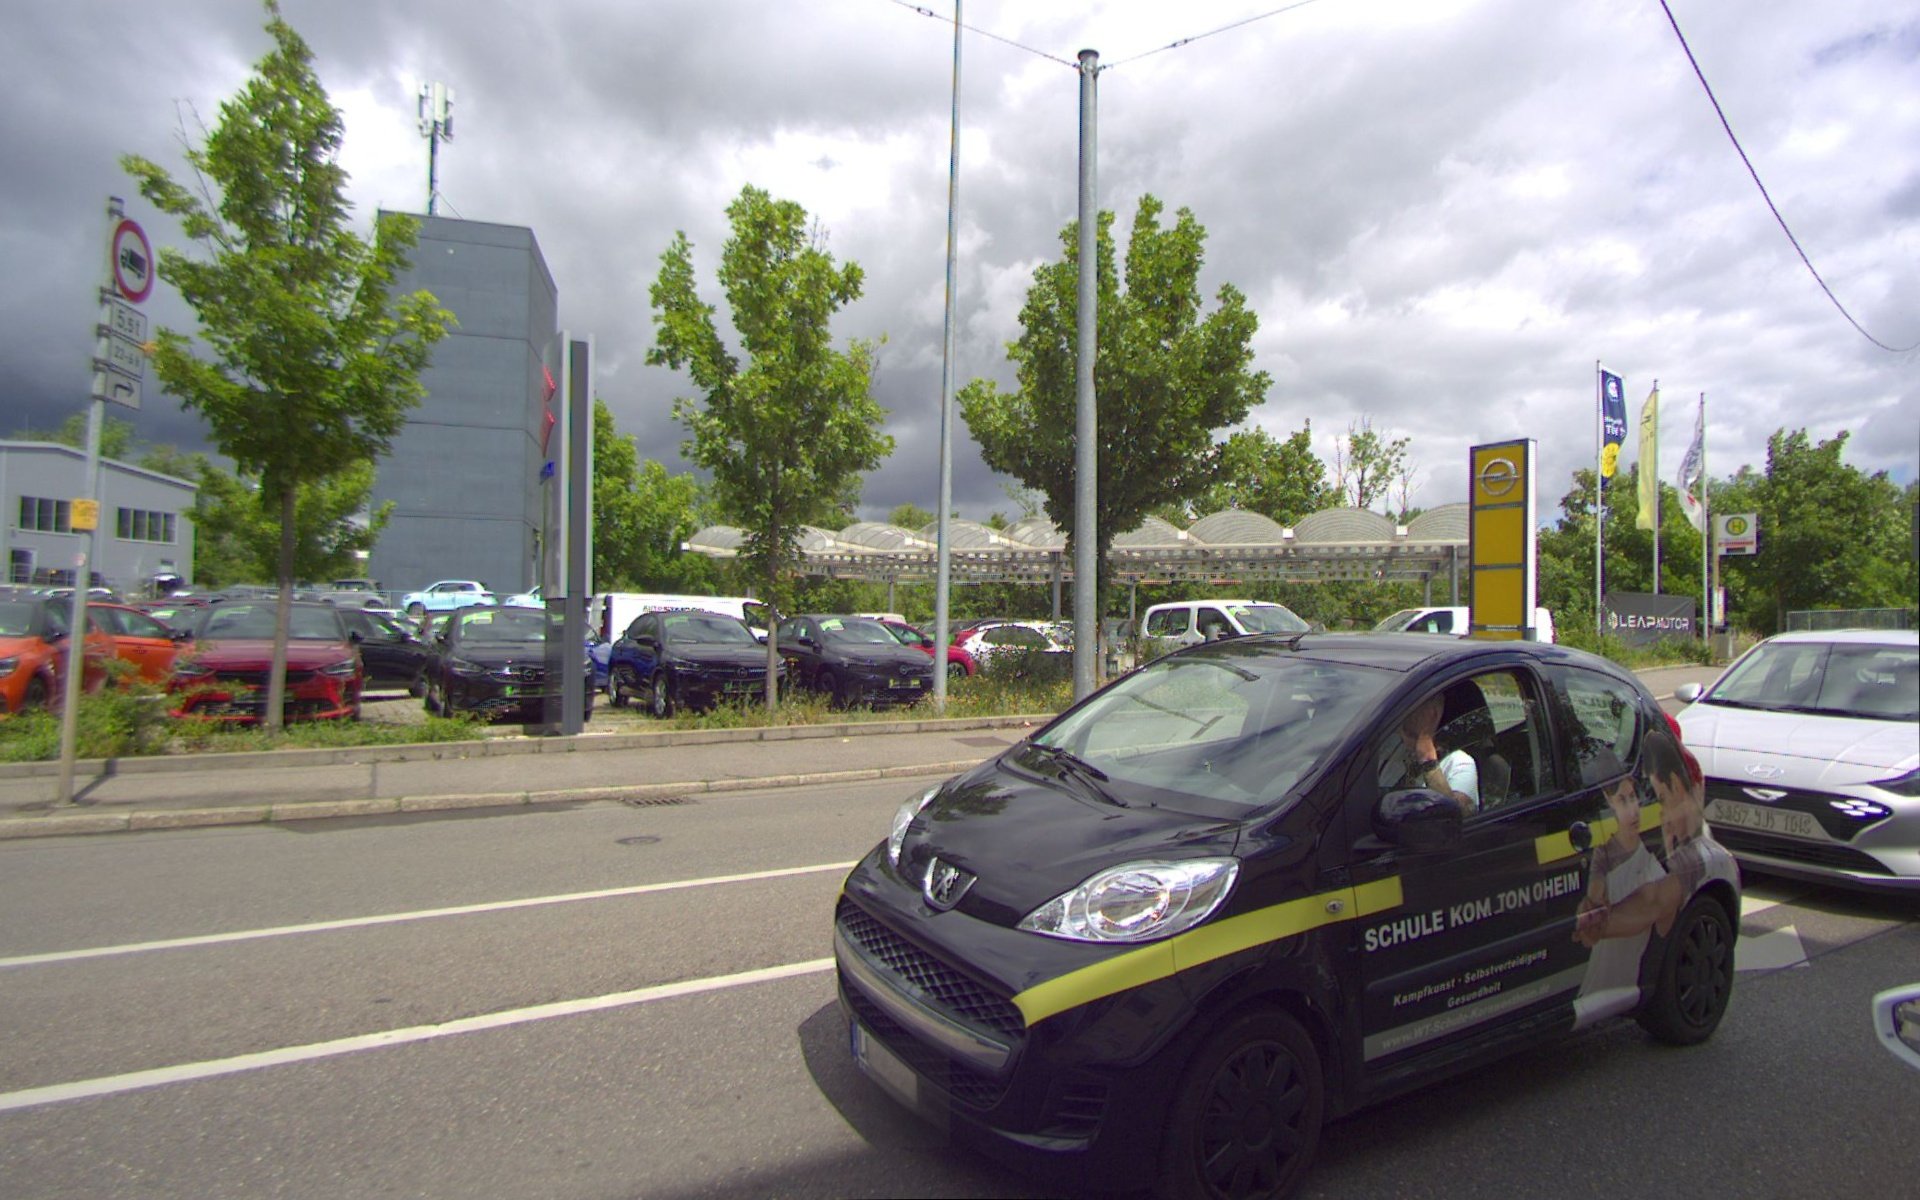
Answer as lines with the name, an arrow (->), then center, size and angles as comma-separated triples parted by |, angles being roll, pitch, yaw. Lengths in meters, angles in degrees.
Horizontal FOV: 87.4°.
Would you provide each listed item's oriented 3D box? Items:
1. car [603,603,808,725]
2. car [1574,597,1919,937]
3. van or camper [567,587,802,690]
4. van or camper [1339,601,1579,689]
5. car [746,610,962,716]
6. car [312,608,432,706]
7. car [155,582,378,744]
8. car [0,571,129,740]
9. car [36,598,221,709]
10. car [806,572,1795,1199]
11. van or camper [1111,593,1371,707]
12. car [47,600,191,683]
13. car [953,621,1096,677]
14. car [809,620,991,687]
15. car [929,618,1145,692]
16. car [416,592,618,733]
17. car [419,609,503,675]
car -> -3.736, 0.835, 14.290 | 1.753, 1.480, 3.812 | 1, -2, -32
car -> 5.922, 0.883, 6.506 | 3.956, 1.602, 1.709 | 3, 0, -32
van or camper -> -6.006, 0.820, 22.034 | 4.632, 2.040, 1.984 | 1, -2, -31
van or camper -> 12.066, 1.060, 24.530 | 4.860, 1.989, 1.990 | 1, 0, 2
car -> -1.750, 0.913, 15.612 | 1.778, 1.428, 3.672 | 1, -2, -36
car -> -9.356, 0.863, 16.026 | 1.500, 1.391, 3.300 | 1, -2, -30
car -> -7.767, 0.654, 11.549 | 1.792, 1.517, 3.829 | 1, -2, -31
car -> -10.126, 0.536, 10.316 | 1.791, 1.517, 3.809 | 1, -2, -30
car -> -11.712, 0.723, 14.352 | 1.500, 1.391, 3.300 | 1, -2, -30
car -> 1.319, 0.743, 3.681 | 3.286, 1.504, 1.709 | 3, 0, -32
van or camper -> 4.886, 0.842, 18.232 | 1.974, 1.773, 4.653 | 1, -1, -26
car -> -15.528, 0.757, 18.695 | 1.500, 1.391, 3.300 | 1, -2, -30
car -> 1.857, 1.360, 28.542 | 3.703, 1.486, 1.818 | 0, -2, 19
car -> -1.196, 1.058, 20.574 | 3.436, 1.270, 1.532 | 1, -2, -32
car -> 1.647, 1.155, 22.278 | 4.454, 1.455, 2.004 | -1, -2, 40
car -> -5.821, 0.735, 12.949 | 1.793, 1.517, 3.791 | 1, -2, -33
car -> -11.528, 0.943, 23.116 | 1.500, 1.391, 3.300 | 1, -2, -30
